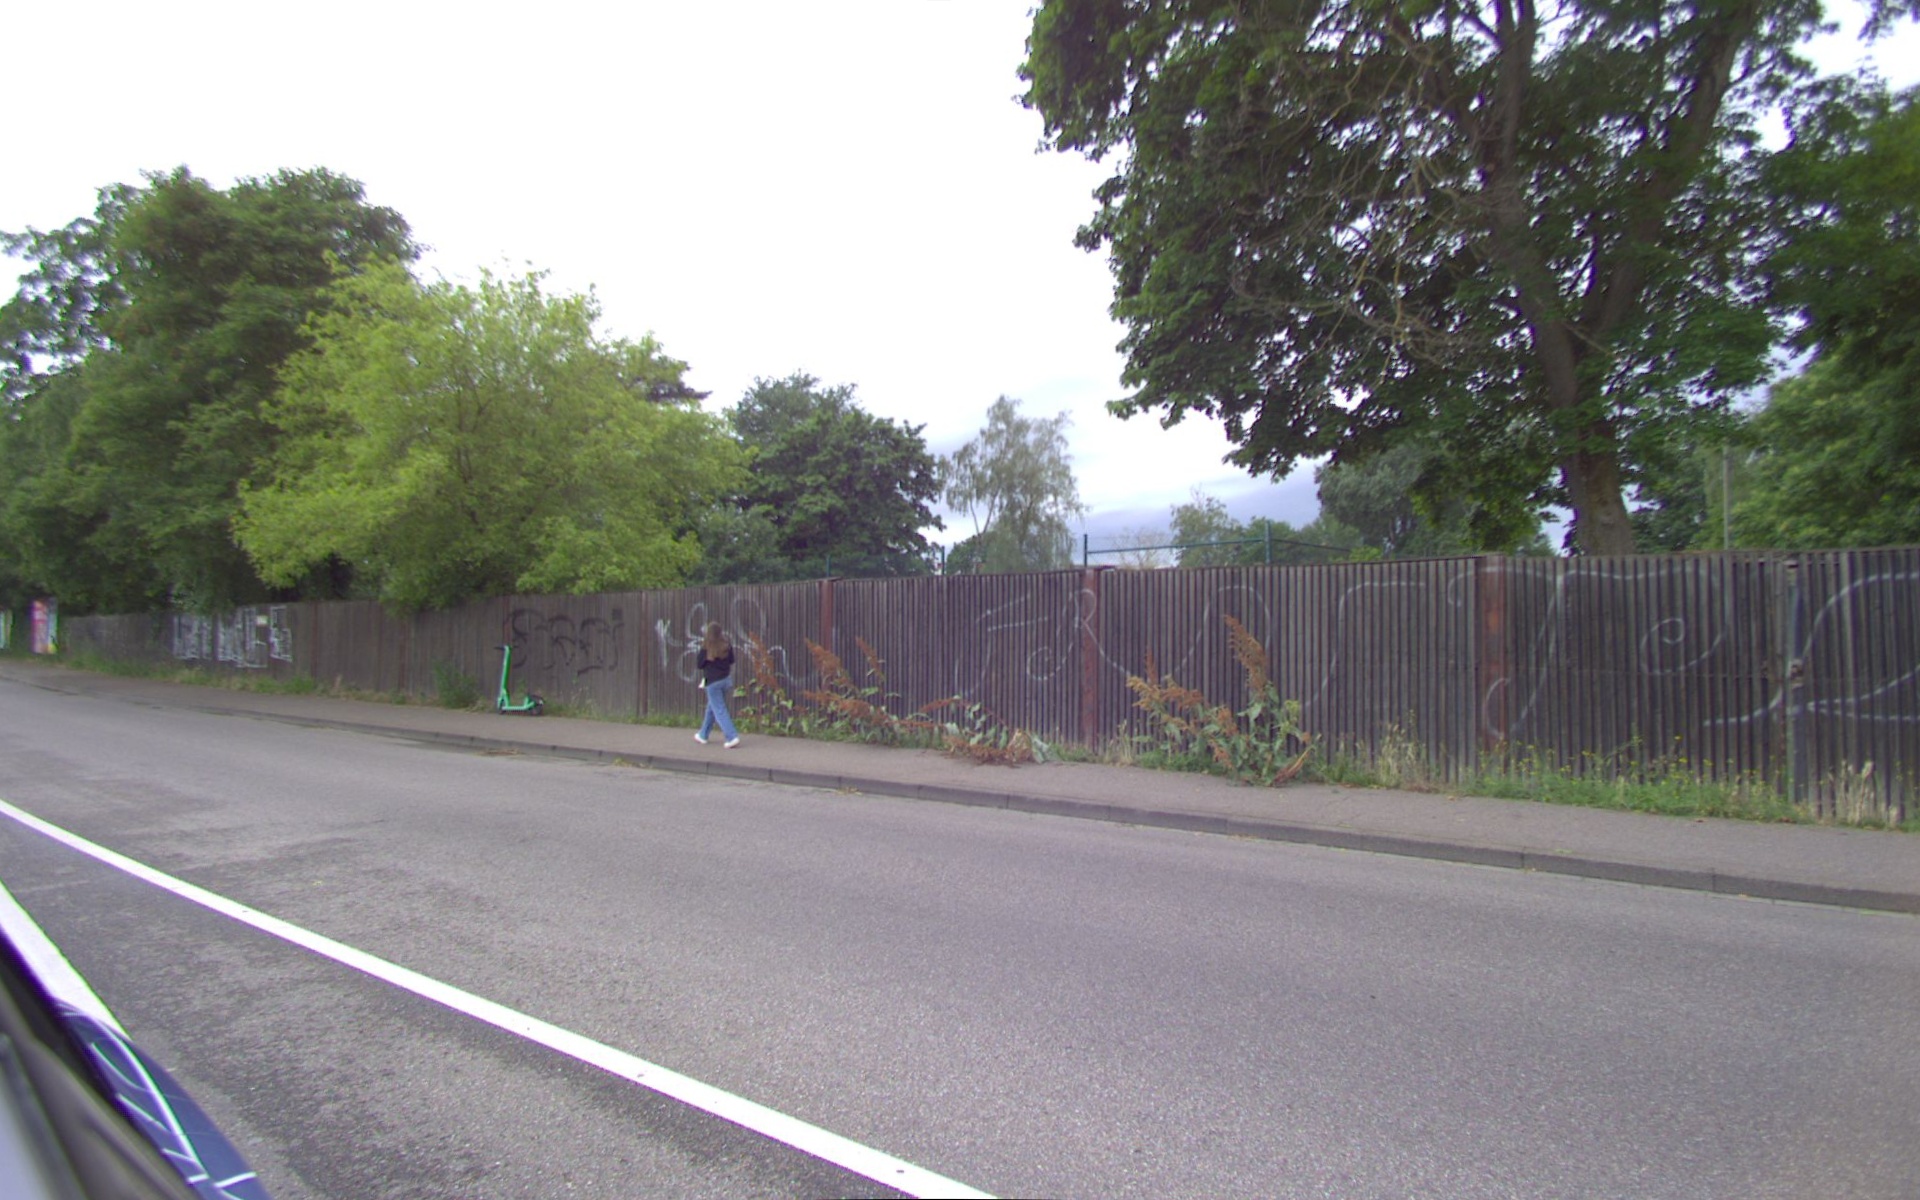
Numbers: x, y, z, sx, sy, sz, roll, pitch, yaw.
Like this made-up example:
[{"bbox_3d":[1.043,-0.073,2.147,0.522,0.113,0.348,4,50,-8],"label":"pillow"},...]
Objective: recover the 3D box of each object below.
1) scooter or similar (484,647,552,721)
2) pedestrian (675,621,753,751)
[{"bbox_3d":[-7.303,1.365,16.701,1.301,1.179,0.419,-2,-2,36],"label":"scooter or similar"},{"bbox_3d":[-3.028,1.028,12.462,0.723,1.541,0.606,-2,-2,36],"label":"pedestrian"}]
